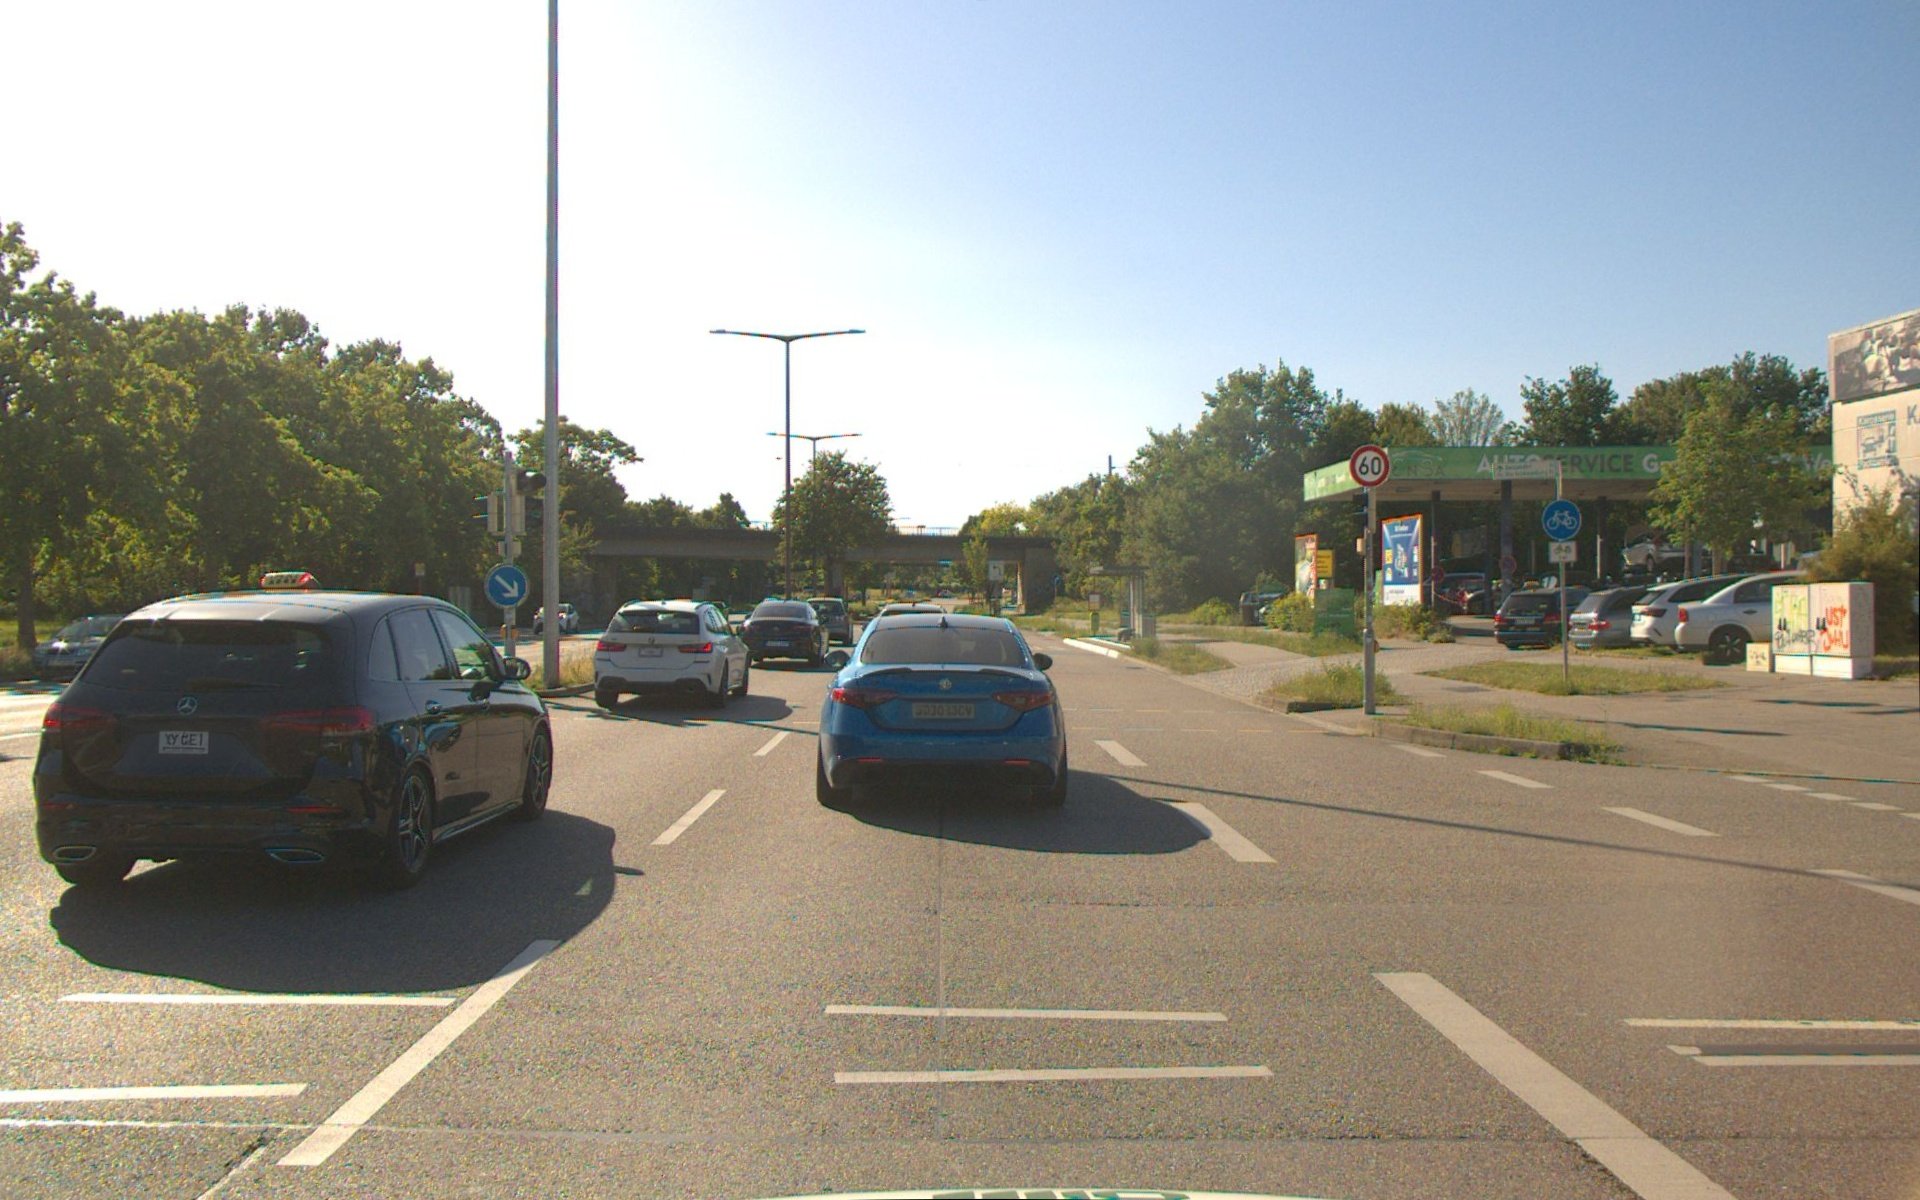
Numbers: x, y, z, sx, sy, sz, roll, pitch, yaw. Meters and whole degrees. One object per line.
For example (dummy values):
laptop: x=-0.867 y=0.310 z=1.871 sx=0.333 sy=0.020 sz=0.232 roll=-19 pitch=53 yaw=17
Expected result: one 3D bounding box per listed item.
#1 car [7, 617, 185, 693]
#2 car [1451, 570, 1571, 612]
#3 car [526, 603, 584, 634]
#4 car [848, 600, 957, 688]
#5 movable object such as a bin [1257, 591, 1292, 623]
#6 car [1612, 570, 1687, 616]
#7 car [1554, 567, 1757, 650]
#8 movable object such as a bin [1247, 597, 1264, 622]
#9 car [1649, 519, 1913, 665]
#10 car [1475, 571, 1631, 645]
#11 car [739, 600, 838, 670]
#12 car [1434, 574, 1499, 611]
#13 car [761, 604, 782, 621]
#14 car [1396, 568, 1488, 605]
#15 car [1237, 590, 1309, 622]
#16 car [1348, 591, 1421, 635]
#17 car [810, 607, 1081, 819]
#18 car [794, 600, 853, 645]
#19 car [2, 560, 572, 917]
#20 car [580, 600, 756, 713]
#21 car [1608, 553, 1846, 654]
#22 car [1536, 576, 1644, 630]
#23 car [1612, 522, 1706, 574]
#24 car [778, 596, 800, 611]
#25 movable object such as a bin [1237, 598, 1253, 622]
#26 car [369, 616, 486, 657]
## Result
car: x=-19.771 y=1.210 z=38.073 sx=1.953 sy=1.552 sz=4.195 roll=-1 pitch=0 yaw=-1
car: x=20.888 y=-0.329 z=62.818 sx=1.979 sy=1.512 sz=3.947 roll=1 pitch=-1 yaw=-37
car: x=-20.445 y=0.920 z=83.684 sx=1.953 sy=1.500 sz=4.195 roll=-1 pitch=0 yaw=-1
car: x=-1.032 y=0.777 z=30.747 sx=1.845 sy=1.479 sz=4.525 roll=1 pitch=0 yaw=-1
movable object such as a bin: x=14.461 y=0.335 z=76.084 sx=0.981 sy=1.453 sz=1.240 roll=0 pitch=0 yaw=-44
car: x=22.602 y=-0.251 z=54.162 sx=1.657 sy=1.445 sz=3.693 roll=1 pitch=1 yaw=33
car: x=15.089 y=0.195 z=36.018 sx=3.535 sy=1.312 sz=1.841 roll=-8 pitch=-1 yaw=0
movable object such as a bin: x=13.745 y=0.450 z=76.903 sx=0.577 sy=1.140 sz=0.502 roll=0 pitch=0 yaw=-43
car: x=14.662 y=-0.130 z=29.600 sx=3.915 sy=2.047 sz=1.683 roll=-8 pitch=0 yaw=31
car: x=14.528 y=0.170 z=40.355 sx=1.867 sy=1.557 sz=4.807 roll=-3 pitch=0 yaw=42
car: x=-3.861 y=0.767 z=37.915 sx=1.845 sy=1.479 sz=4.525 roll=1 pitch=0 yaw=-1
car: x=23.364 y=-0.312 z=76.357 sx=1.678 sy=1.635 sz=4.134 roll=1 pitch=0 yaw=-1
car: x=-18.052 y=1.190 z=158.795 sx=1.608 sy=1.476 sz=4.110 roll=-2 pitch=0 yaw=-1
car: x=23.414 y=-0.649 z=80.446 sx=3.954 sy=1.558 sz=1.734 roll=-3 pitch=-1 yaw=0
car: x=15.500 y=0.313 z=81.976 sx=3.216 sy=1.512 sz=1.772 roll=1 pitch=0 yaw=0
car: x=16.331 y=0.498 z=63.770 sx=1.709 sy=1.600 sz=4.248 roll=-1 pitch=0 yaw=0
car: x=-0.135 y=0.791 z=13.520 sx=1.845 sy=1.431 sz=4.223 roll=1 pitch=0 yaw=-1
car: x=-4.634 y=0.750 z=56.773 sx=1.743 sy=1.479 sz=4.180 roll=-1 pitch=0 yaw=-1
car: x=-3.610 y=0.656 z=9.779 sx=1.673 sy=1.626 sz=4.223 roll=1 pitch=0 yaw=-1
car: x=-4.162 y=0.766 z=24.268 sx=1.845 sy=1.479 sz=4.525 roll=1 pitch=0 yaw=-1
car: x=15.182 y=0.071 z=32.928 sx=3.837 sy=1.477 sz=1.726 roll=-8 pitch=-1 yaw=10
car: x=20.553 y=0.116 z=54.137 sx=1.953 sy=1.676 sz=3.999 roll=1 pitch=0 yaw=-1
car: x=26.272 y=-1.920 z=62.293 sx=1.879 sy=1.786 sz=3.777 roll=-1 pitch=-1 yaw=0
car: x=-17.589 y=0.361 z=170.127 sx=1.780 sy=1.460 sz=4.629 roll=-2 pitch=0 yaw=-1
movable object such as a bin: x=13.298 y=0.465 z=77.241 sx=0.577 sy=1.093 sz=0.502 roll=0 pitch=0 yaw=-43
car: x=-19.575 y=1.317 z=60.994 sx=1.951 sy=1.400 sz=4.626 roll=-1 pitch=0 yaw=14
